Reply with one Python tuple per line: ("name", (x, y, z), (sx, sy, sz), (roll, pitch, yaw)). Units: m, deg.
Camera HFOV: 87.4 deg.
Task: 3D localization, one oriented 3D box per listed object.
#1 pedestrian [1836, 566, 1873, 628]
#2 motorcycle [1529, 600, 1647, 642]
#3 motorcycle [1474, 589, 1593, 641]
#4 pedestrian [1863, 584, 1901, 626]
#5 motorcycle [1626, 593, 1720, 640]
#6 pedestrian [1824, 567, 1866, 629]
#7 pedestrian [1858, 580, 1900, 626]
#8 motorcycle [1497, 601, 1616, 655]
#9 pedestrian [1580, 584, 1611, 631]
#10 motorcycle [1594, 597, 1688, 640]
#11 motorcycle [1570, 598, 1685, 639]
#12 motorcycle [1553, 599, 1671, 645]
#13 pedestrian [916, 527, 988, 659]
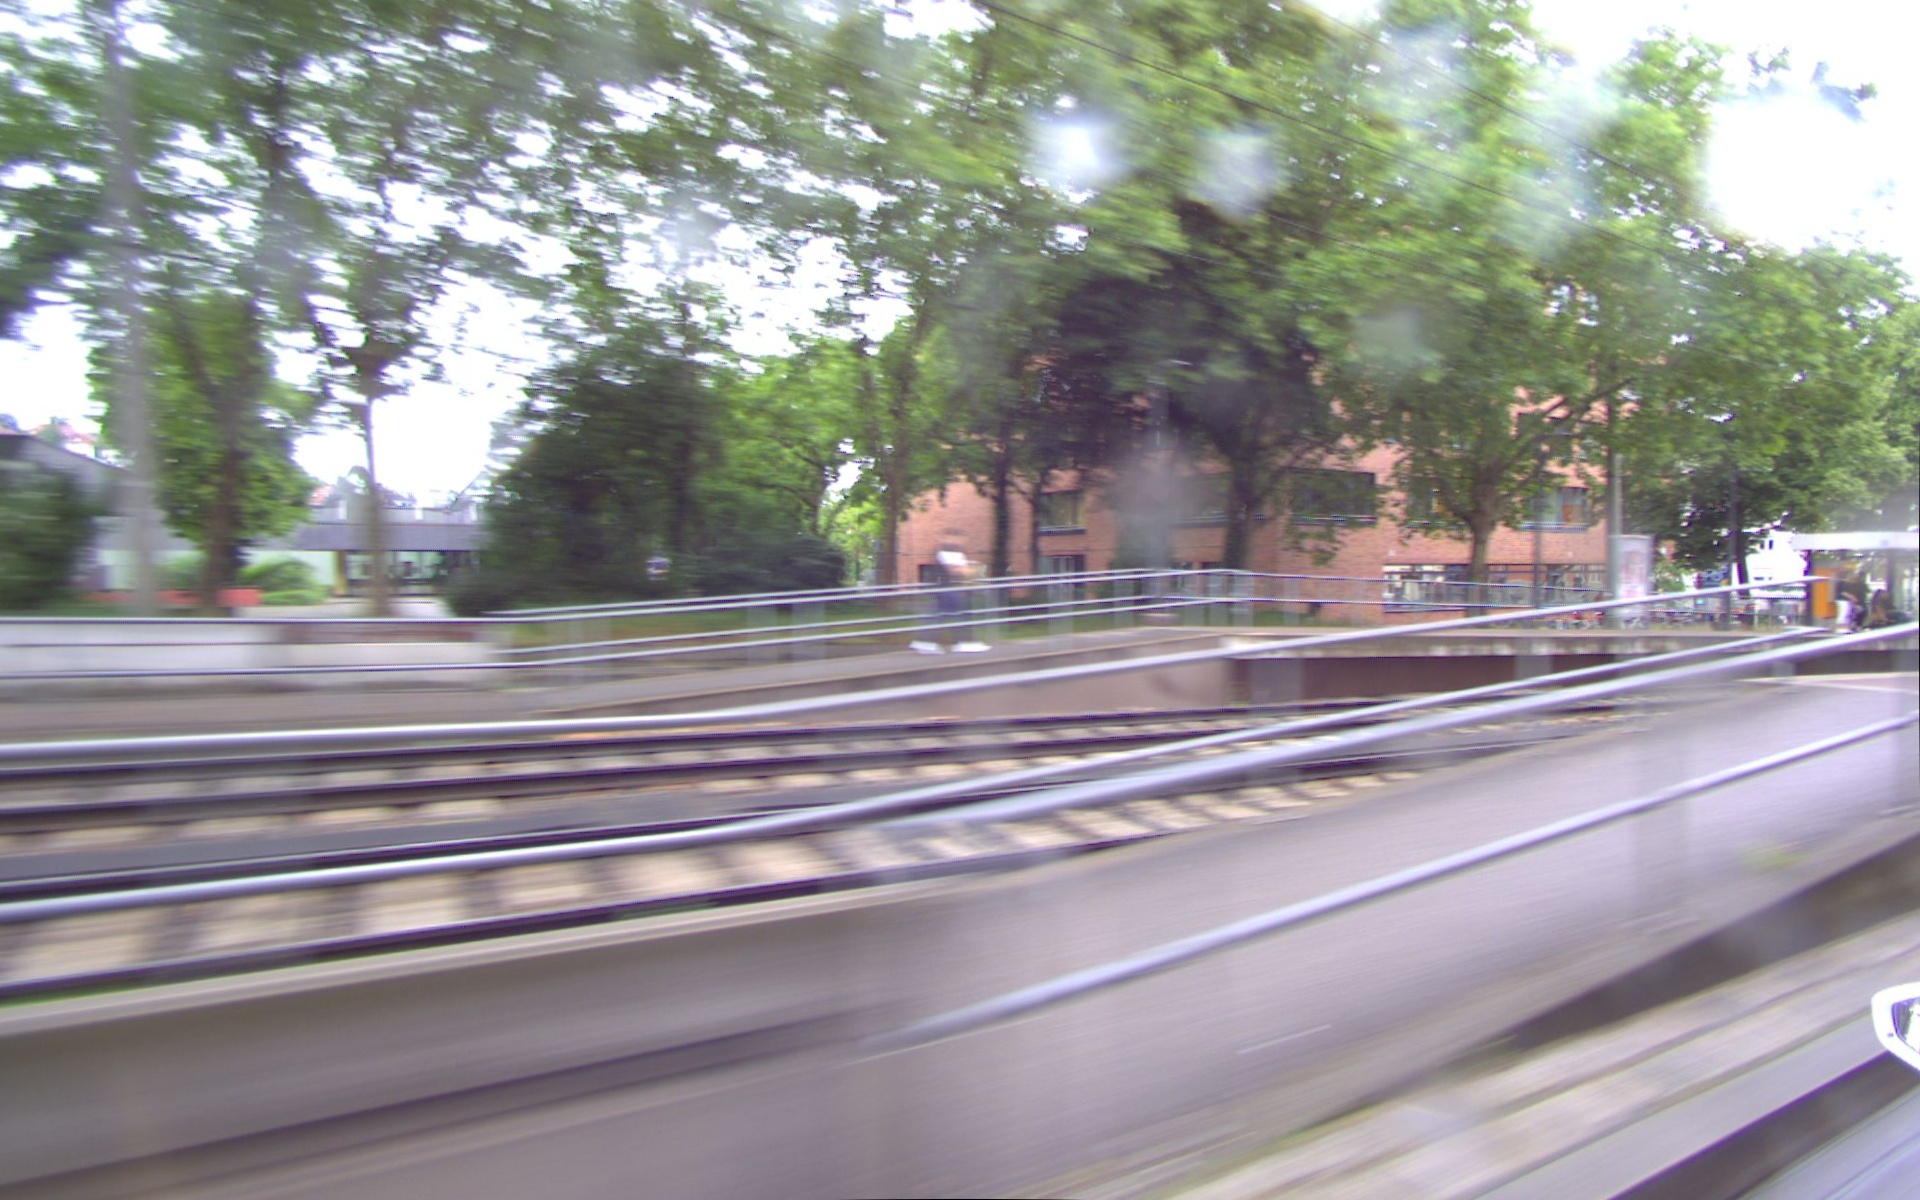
("pedestrian", (25.613, -0.092, 28.771), (0.698, 1.738, 0.559), (0, 2, -32))
("motorcycle", (24.387, 0.783, 39.114), (0.995, 1.426, 3.844), (1, 1, -31))
("motorcycle", (21.332, 0.518, 37.520), (0.995, 1.798, 3.844), (1, 1, -31))
("pedestrian", (28.286, 0.136, 30.828), (0.558, 1.257, 0.699), (0, 2, -32))
("motorcycle", (29.818, 0.660, 42.089), (0.982, 1.840, 3.020), (1, 1, -31))
("pedestrian", (24.486, -0.061, 27.800), (0.558, 1.663, 0.682), (0, 2, -32))
("pedestrian", (27.815, 0.081, 30.410), (0.558, 1.381, 0.773), (0, 2, -32))
("motorcycle", (22.607, 1.022, 38.219), (0.995, 1.840, 3.844), (1, 1, -31))
("pedestrian", (28.157, 0.316, 44.507), (0.968, 2.041, 0.730), (1, 1, -28))
("motorcycle", (28.112, 0.737, 41.538), (0.995, 1.649, 3.042), (1, 1, -31))
("motorcycle", (27.150, 0.715, 40.966), (0.995, 1.508, 3.844), (1, 1, -31))
("motorcycle", (25.632, 0.812, 39.627), (0.995, 1.627, 3.844), (1, 1, -31))
("pedestrian", (-0.112, -0.110, 13.403), (0.679, 1.686, 0.654), (-4, 4, -30))
